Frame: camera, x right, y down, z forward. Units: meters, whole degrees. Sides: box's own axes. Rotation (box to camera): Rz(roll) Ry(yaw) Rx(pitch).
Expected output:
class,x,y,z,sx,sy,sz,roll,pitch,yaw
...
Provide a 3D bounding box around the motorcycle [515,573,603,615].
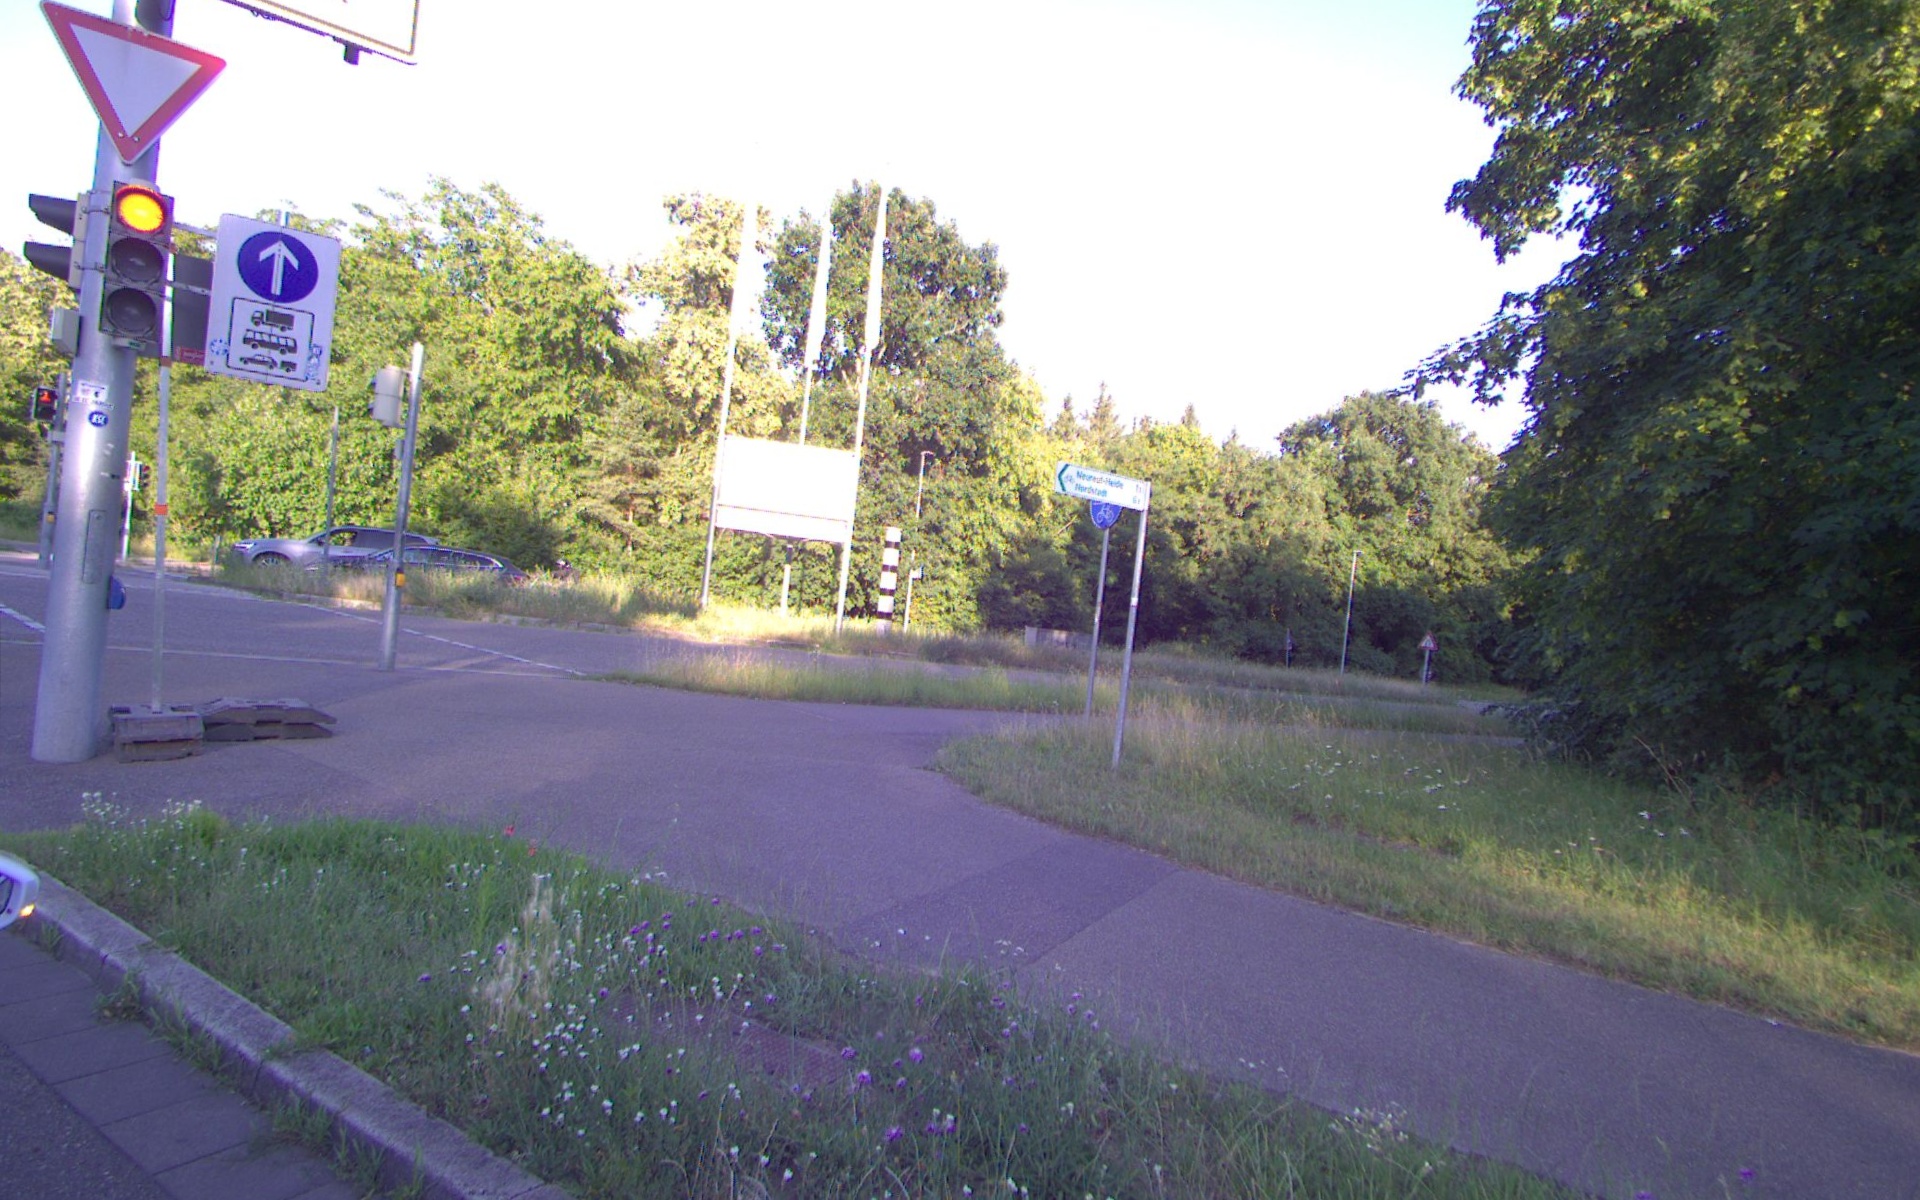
class,x,y,z,sx,sy,sz,roll,pitch,yaw
motorcycle,-11.211,-0.163,28.151,2.133,0.921,0.655,7,0,-37

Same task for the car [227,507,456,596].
class,x,y,z,sx,sy,sz,roll,pitch,yaw
car,-15.924,-1.208,26.004,4.790,1.618,1.980,7,0,-37

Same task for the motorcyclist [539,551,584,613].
class,x,y,z,sx,sy,sz,roll,pitch,yaw
motorcyclist,-11.151,-0.502,28.156,0.881,1.614,0.648,6,0,-37

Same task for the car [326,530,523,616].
class,x,y,z,sx,sy,sz,roll,pitch,yaw
car,-12.651,-0.616,23.839,3.840,1.507,1.754,7,-1,-36
